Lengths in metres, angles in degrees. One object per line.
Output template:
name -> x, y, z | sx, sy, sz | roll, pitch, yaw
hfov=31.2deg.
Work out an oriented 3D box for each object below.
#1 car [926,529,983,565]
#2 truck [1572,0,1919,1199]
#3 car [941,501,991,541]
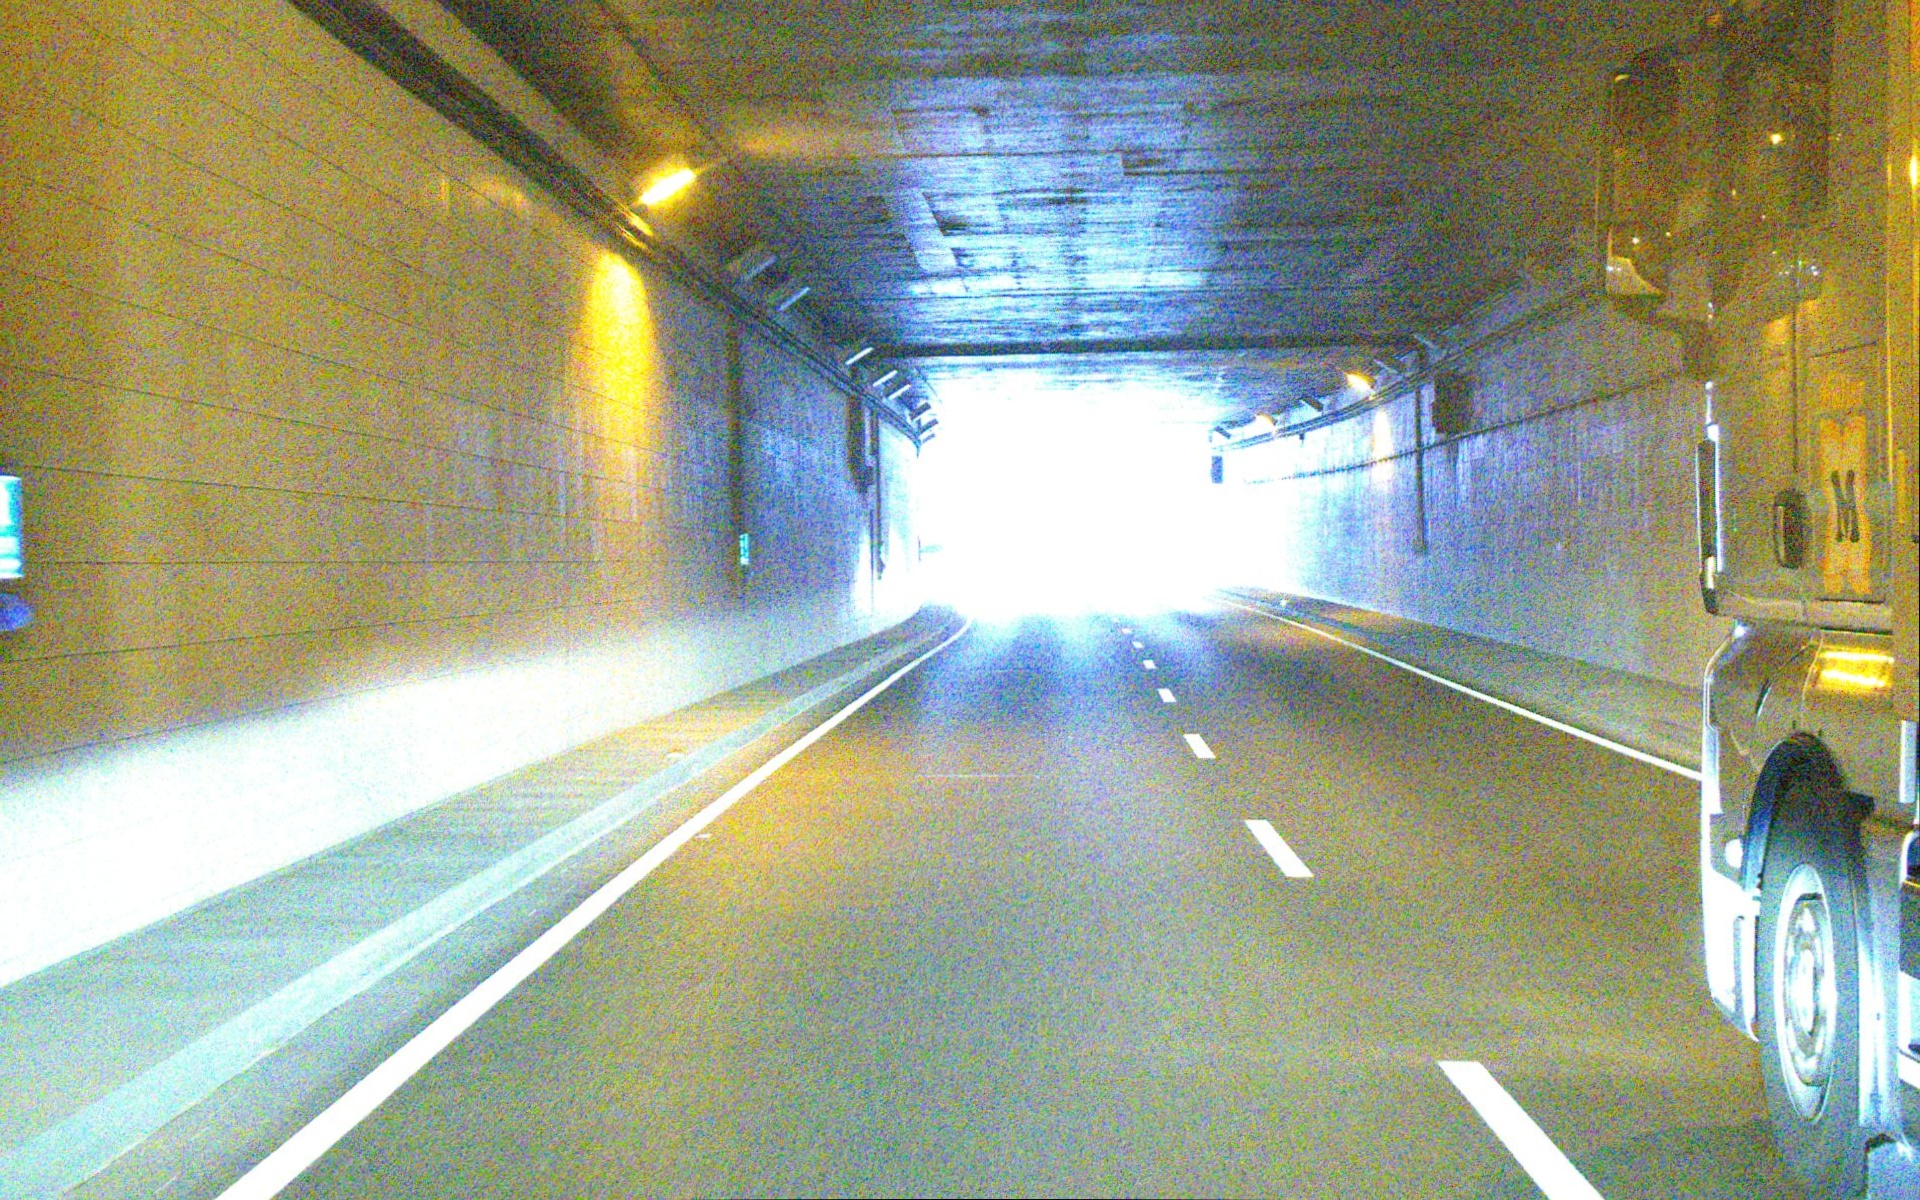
car -> -0.231, -2.169, 140.991 | 1.841, 1.384, 4.001 | -1, 0, -7
truck -> 3.209, -0.571, 4.307 | 2.888, 3.900, 9.910 | -1, 1, -1
car -> 0.271, -3.566, 155.714 | 1.869, 1.726, 4.001 | -1, 0, -5
